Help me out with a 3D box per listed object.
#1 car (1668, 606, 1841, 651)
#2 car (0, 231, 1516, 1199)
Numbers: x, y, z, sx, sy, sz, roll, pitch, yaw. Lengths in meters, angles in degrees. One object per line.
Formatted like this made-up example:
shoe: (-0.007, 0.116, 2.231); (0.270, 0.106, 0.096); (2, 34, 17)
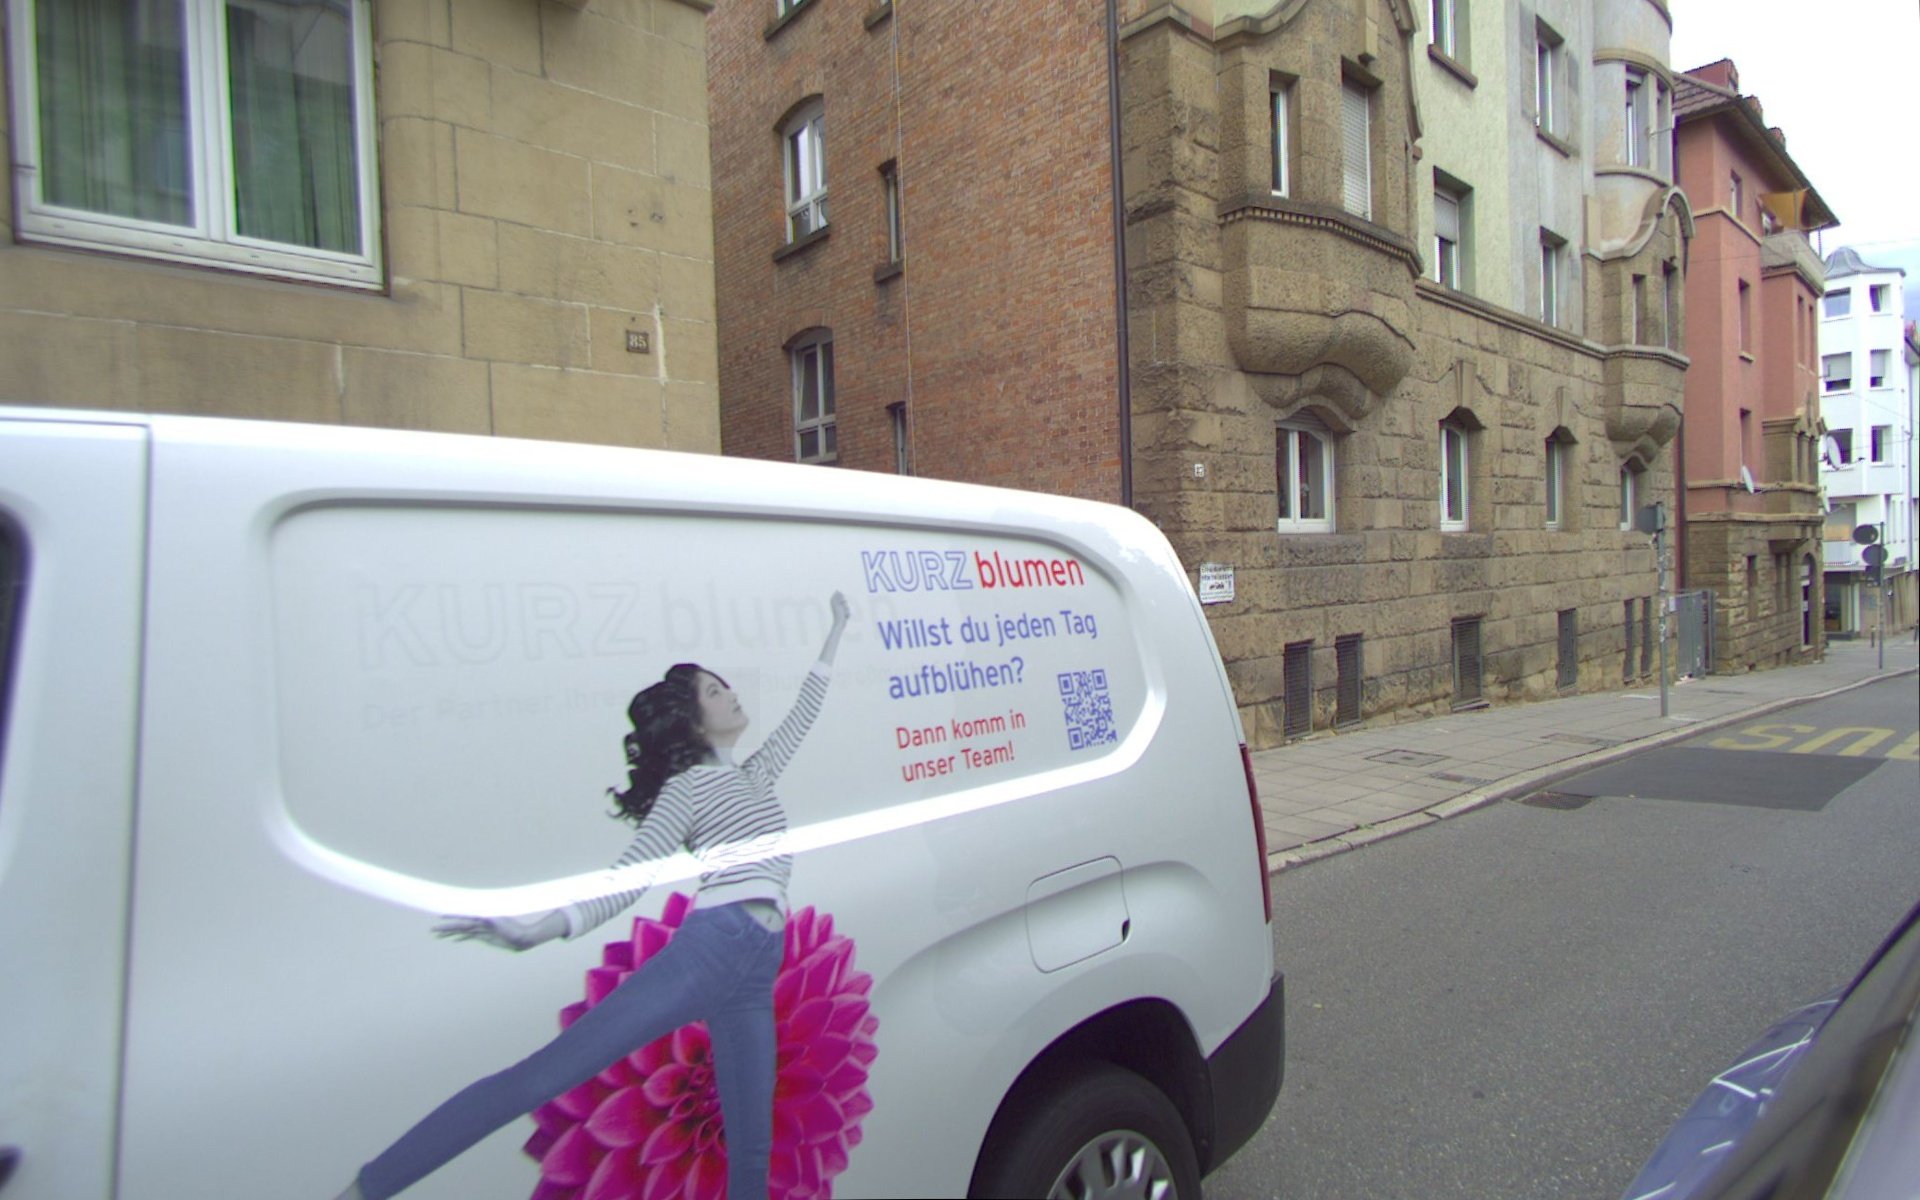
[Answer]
car: (31.178, 1.154, 39.821); (5.125, 1.570, 2.203); (-4, -2, 44)
car: (-1.161, 0.620, 1.737); (4.929, 1.848, 1.854); (-1, 0, -38)
